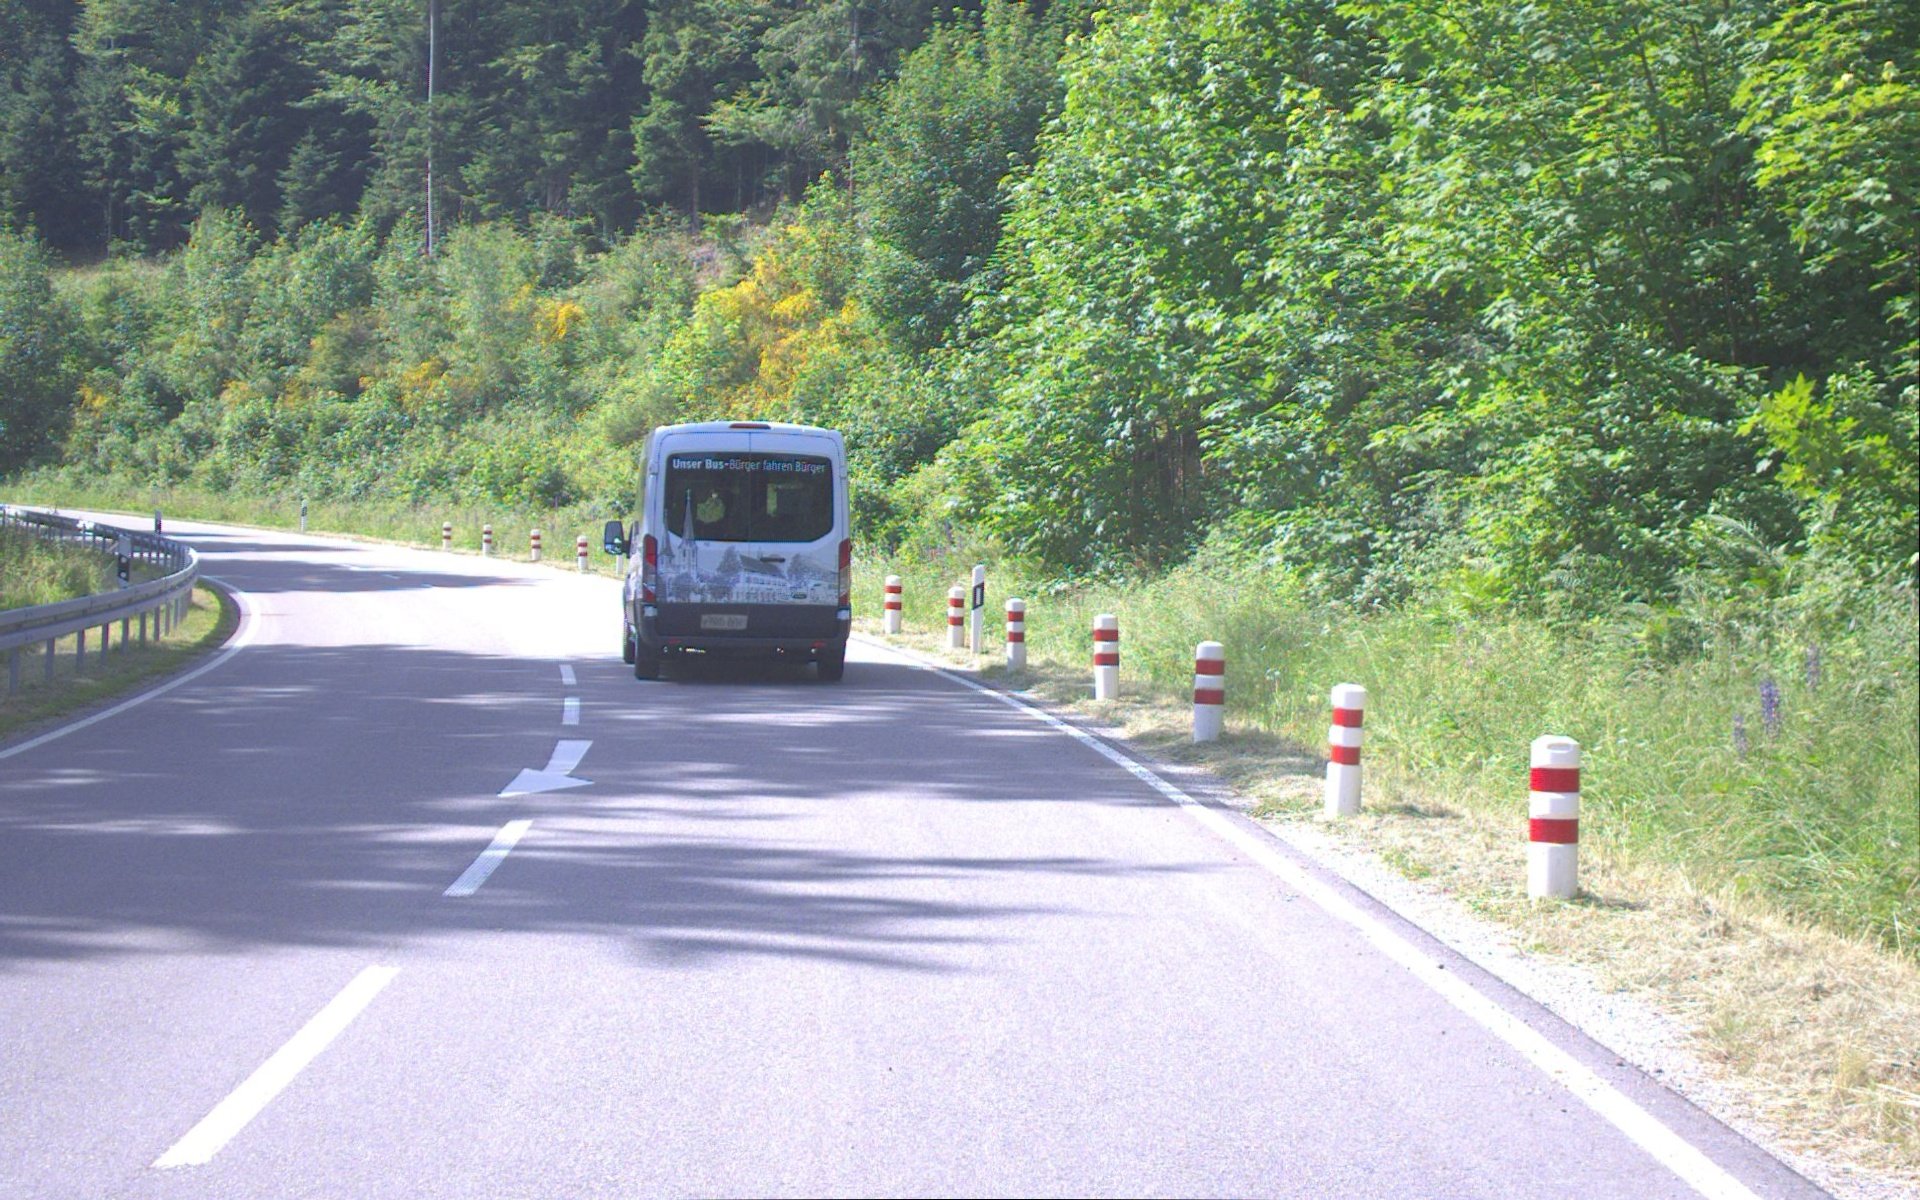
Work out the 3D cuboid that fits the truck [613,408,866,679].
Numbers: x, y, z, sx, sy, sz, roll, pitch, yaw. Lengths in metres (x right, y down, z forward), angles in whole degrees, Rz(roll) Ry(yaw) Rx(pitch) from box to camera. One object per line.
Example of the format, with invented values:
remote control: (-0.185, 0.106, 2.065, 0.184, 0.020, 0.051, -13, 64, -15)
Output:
truck: (-2.302, -0.591, 34.453, 2.115, 2.489, 5.361, 0, 1, -8)
